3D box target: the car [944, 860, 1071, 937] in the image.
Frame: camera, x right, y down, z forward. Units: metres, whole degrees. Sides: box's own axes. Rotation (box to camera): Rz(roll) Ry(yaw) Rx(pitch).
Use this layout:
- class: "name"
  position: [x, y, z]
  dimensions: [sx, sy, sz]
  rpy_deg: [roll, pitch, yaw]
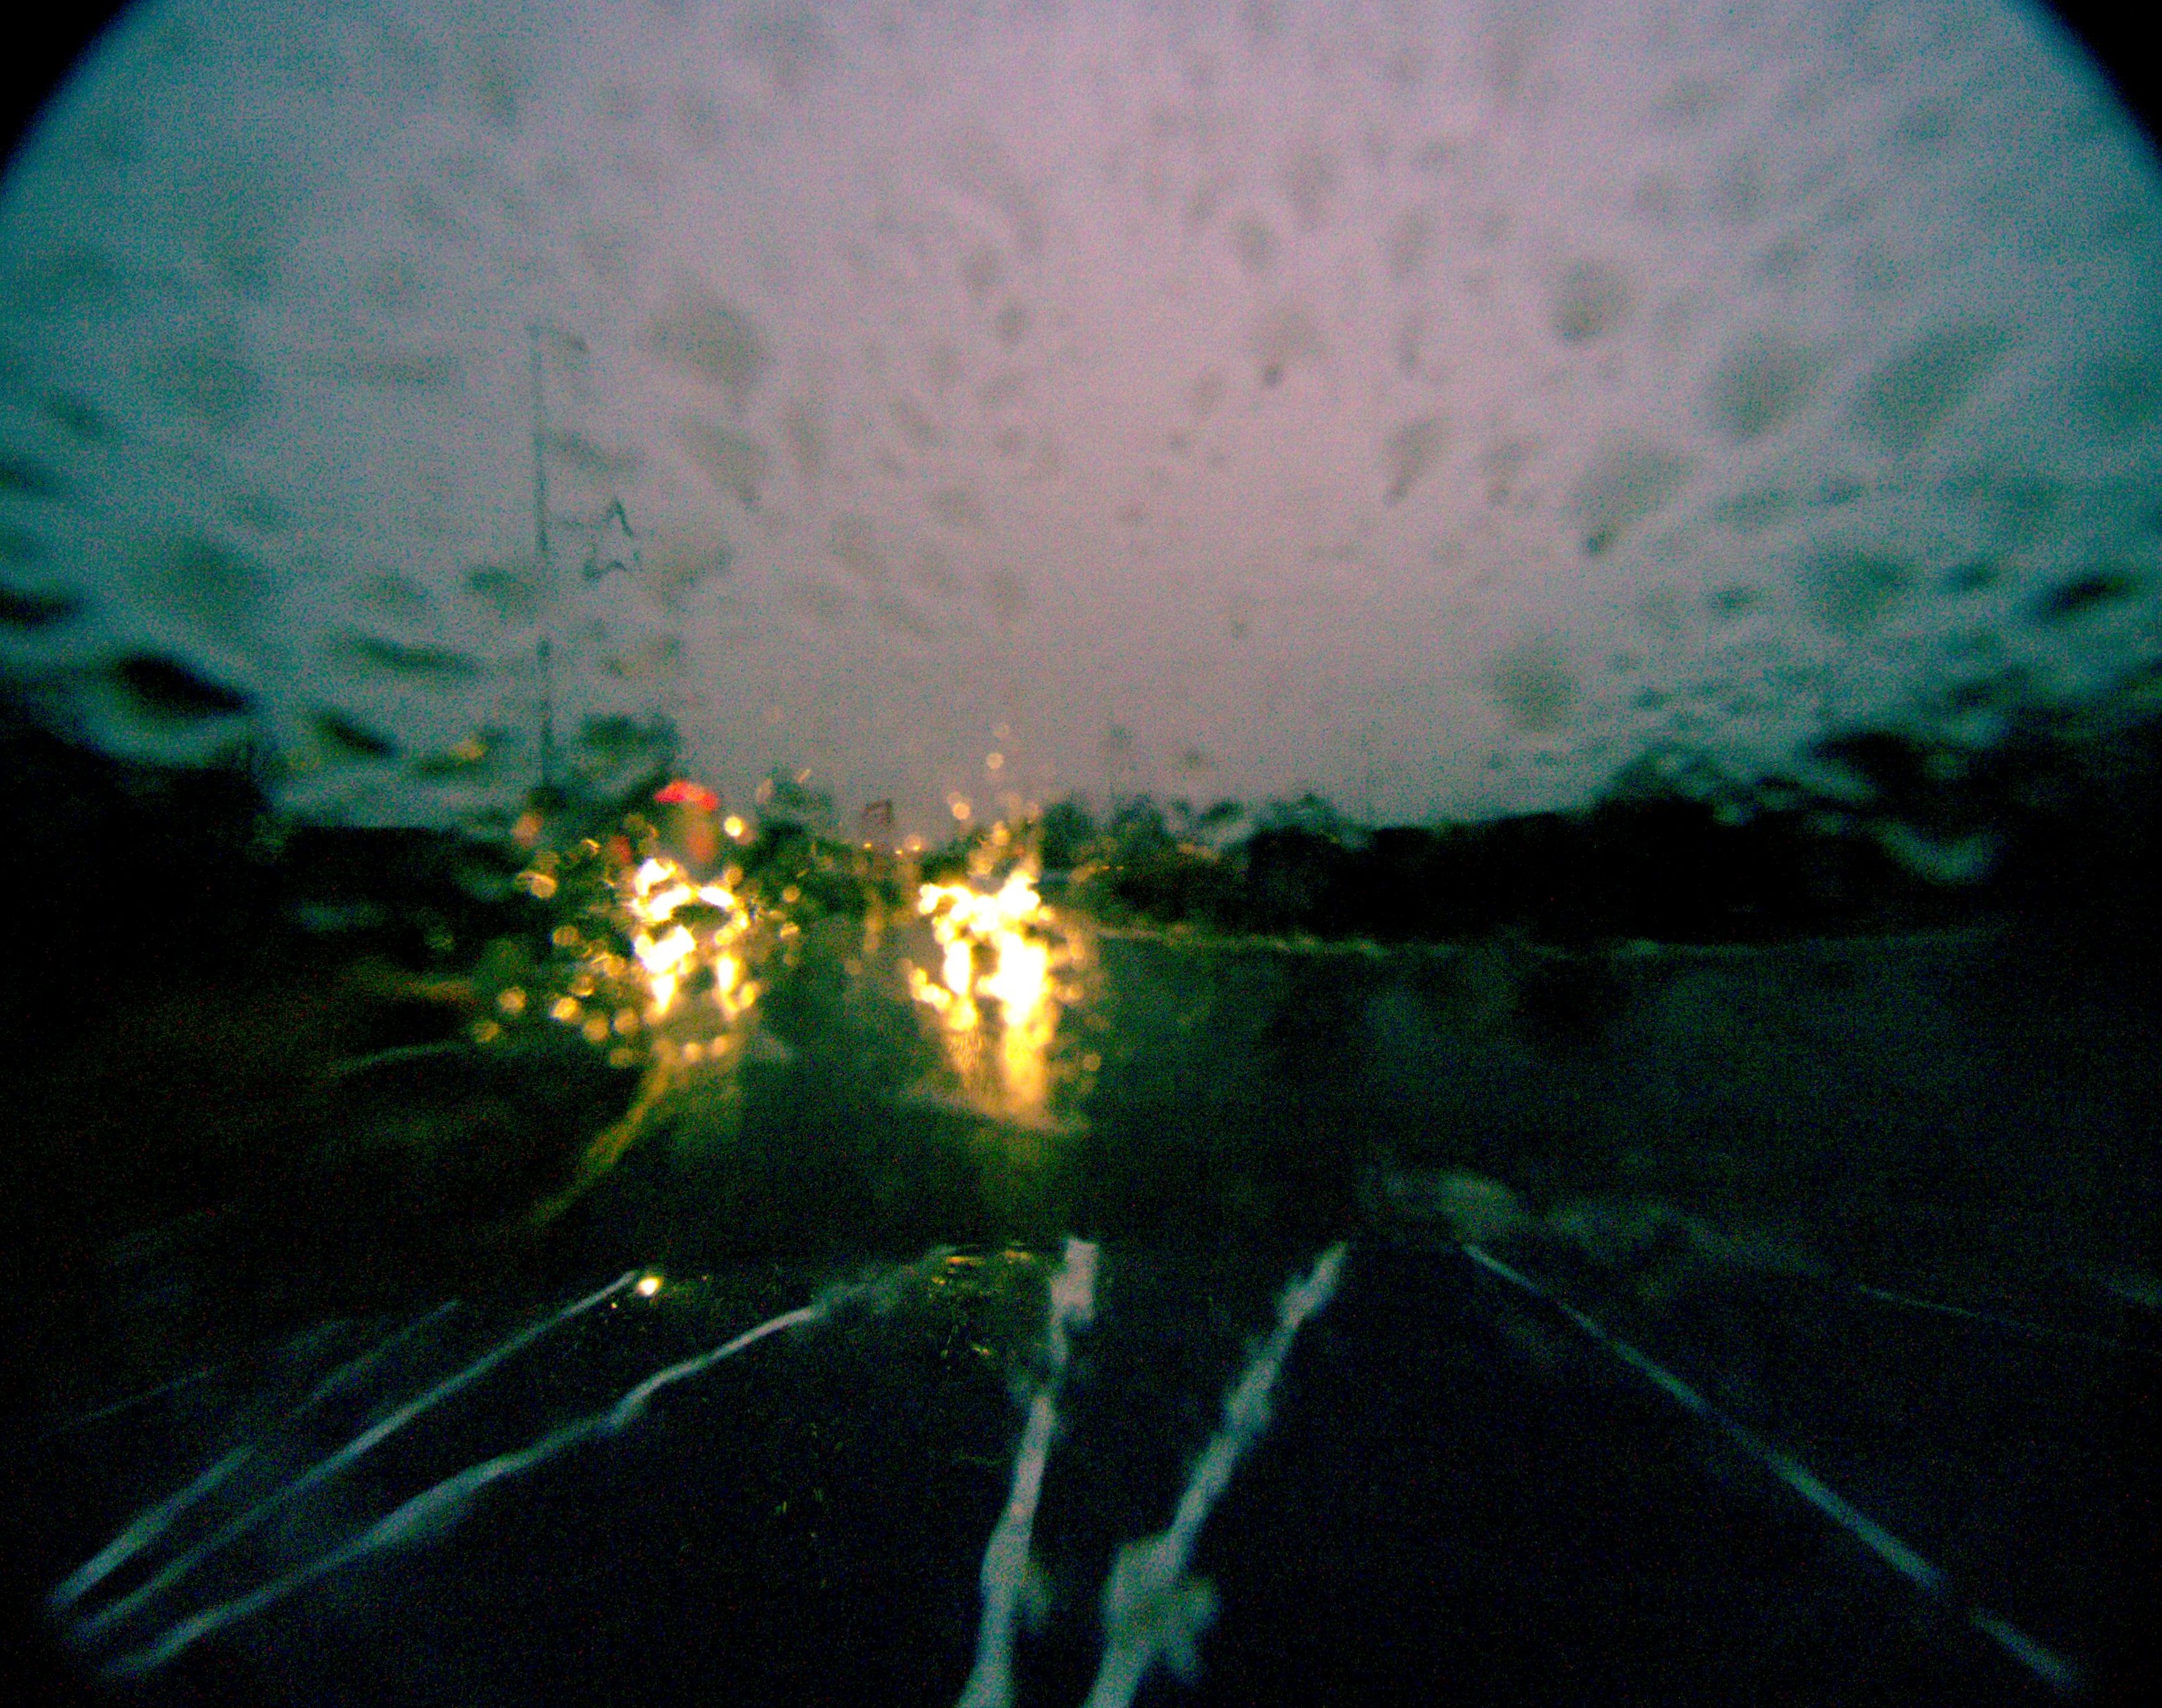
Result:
- class: "car"
  position: [-1.624, 0.983, 18.448]
  dimensions: [1.808, 1.452, 4.249]
  rpy_deg: [-3, 1, 11]

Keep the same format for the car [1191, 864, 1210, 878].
- class: "car"
  position: [20.847, 2.926, 132.800]
  dimensions: [2.280, 2.425, 5.238]
  rpy_deg: [0, 0, -4]

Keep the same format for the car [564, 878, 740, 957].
- class: "car"
  position: [-9.480, 1.391, 16.727]
  dimensions: [3.702, 1.483, 1.666]
  rpy_deg: [-4, 0, 31]
